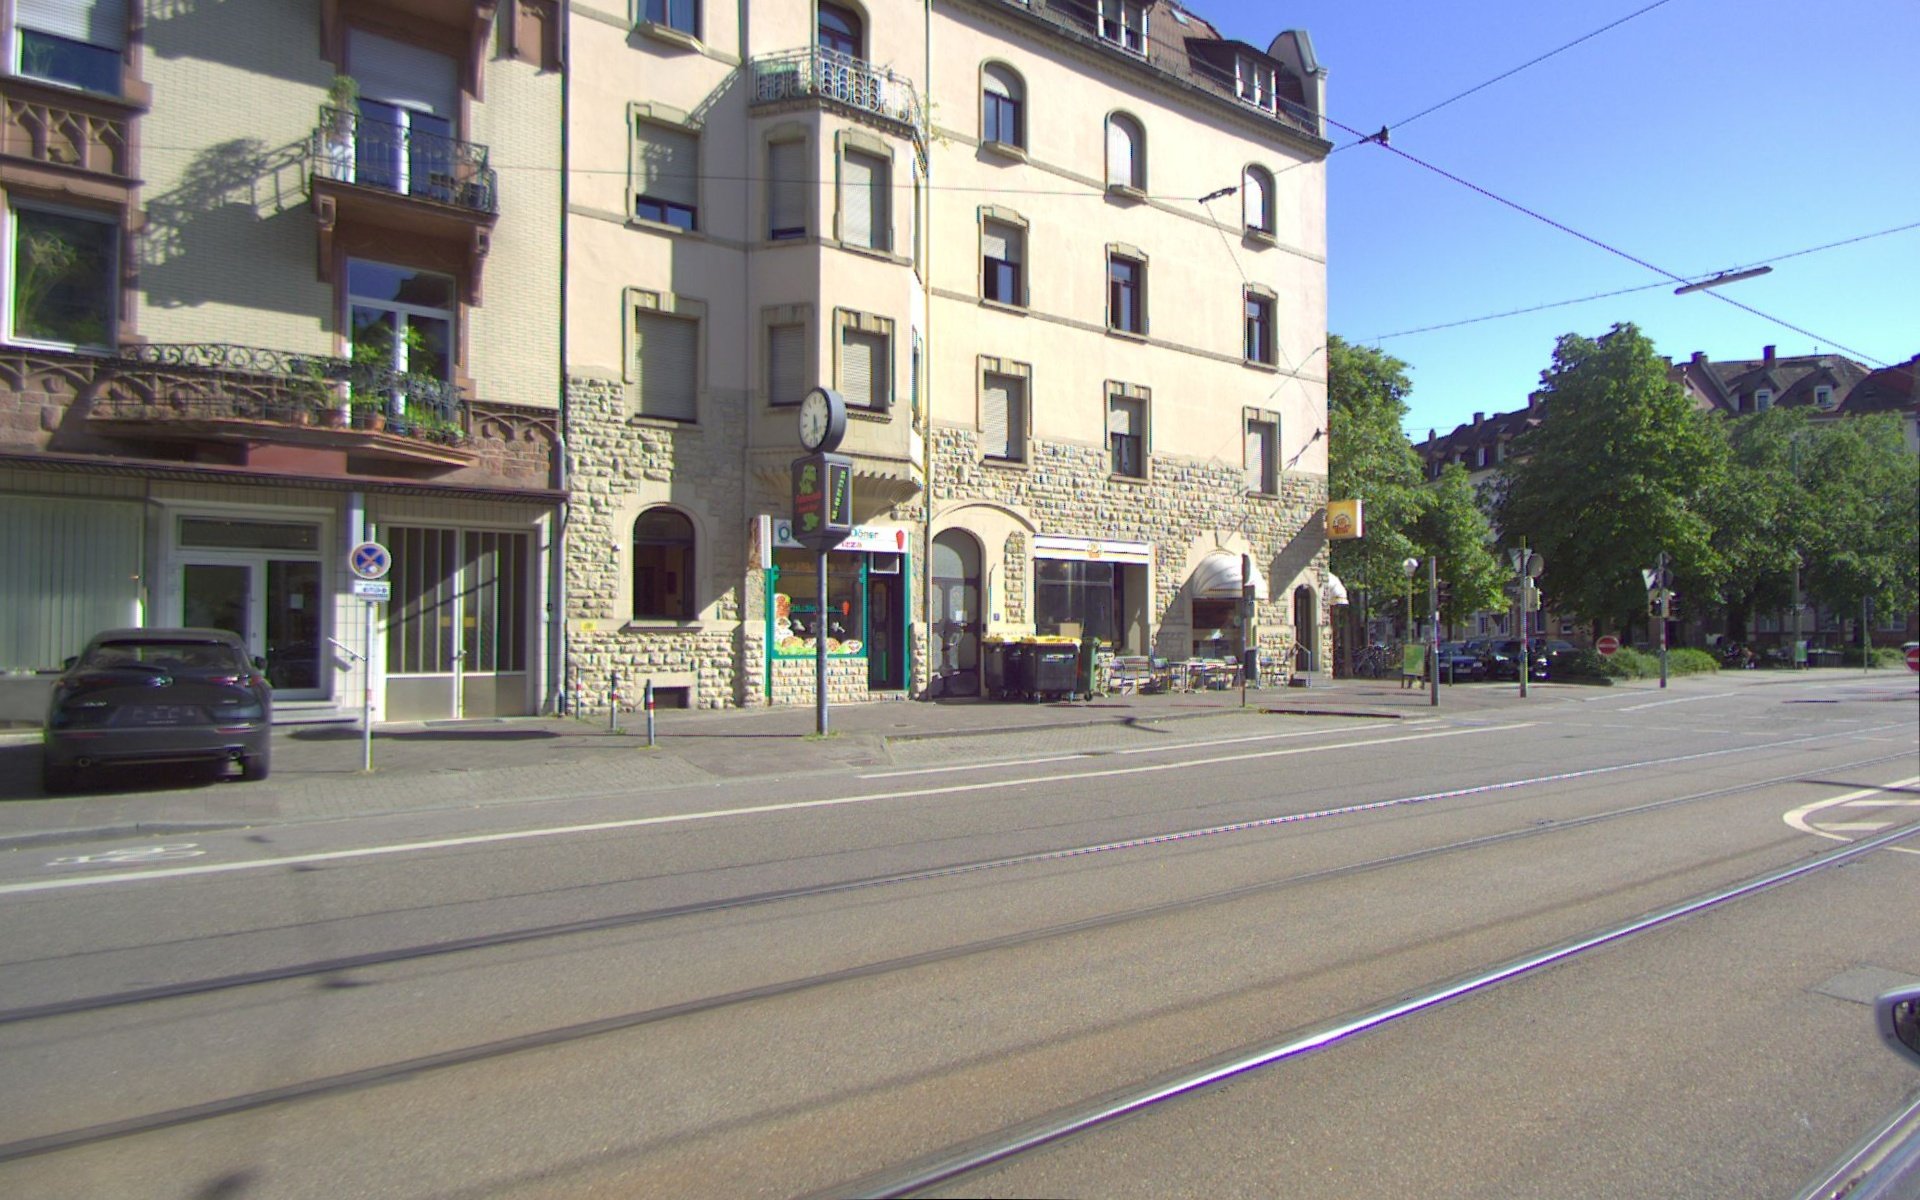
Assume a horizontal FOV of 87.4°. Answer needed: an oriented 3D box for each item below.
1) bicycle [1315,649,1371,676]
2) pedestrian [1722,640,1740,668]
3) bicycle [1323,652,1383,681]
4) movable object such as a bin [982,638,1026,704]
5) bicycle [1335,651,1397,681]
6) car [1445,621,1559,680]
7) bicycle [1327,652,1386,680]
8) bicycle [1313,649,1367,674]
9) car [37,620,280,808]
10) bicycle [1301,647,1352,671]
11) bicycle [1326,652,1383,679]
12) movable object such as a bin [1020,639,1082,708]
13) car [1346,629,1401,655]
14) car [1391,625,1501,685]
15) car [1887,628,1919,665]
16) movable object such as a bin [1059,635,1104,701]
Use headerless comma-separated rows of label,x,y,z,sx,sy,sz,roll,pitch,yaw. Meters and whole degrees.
bicycle,15.375,2.505,40.320,1.997,0.993,0.611,1,-1,6
pedestrian,33.665,2.362,43.839,0.571,1.217,0.605,-3,-3,40
bicycle,14.745,2.495,37.729,1.997,0.993,0.611,1,-1,6
movable object such as a bin,0.930,1.491,21.302,0.647,1.343,0.853,1,-1,-20
bicycle,14.599,2.370,36.154,1.997,0.993,0.611,1,-1,6
car,20.037,1.838,37.359,1.961,2.040,3.999,1,-2,-3
bicycle,15.191,2.522,38.487,1.997,0.993,0.611,1,-1,6
bicycle,15.786,2.554,41.718,1.997,0.993,0.611,1,-1,6
car,-8.701,1.078,11.057,1.756,1.523,3.956,2,0,-38
bicycle,15.953,2.560,43.720,1.997,0.993,0.611,1,-1,6
bicycle,15.427,2.560,39.318,1.997,0.993,0.611,1,-1,6
movable object such as a bin,1.905,1.534,21.095,1.012,1.399,0.854,2,-1,-20
car,34.865,3.507,84.836,1.967,2.040,4.575,1,-2,-15
car,17.767,1.960,36.938,1.961,2.040,3.999,1,-2,-3
car,55.549,2.628,56.280,4.927,2.040,2.001,1,-1,12
movable object such as a bin,2.670,1.474,22.003,0.840,1.399,1.028,1,-1,13
